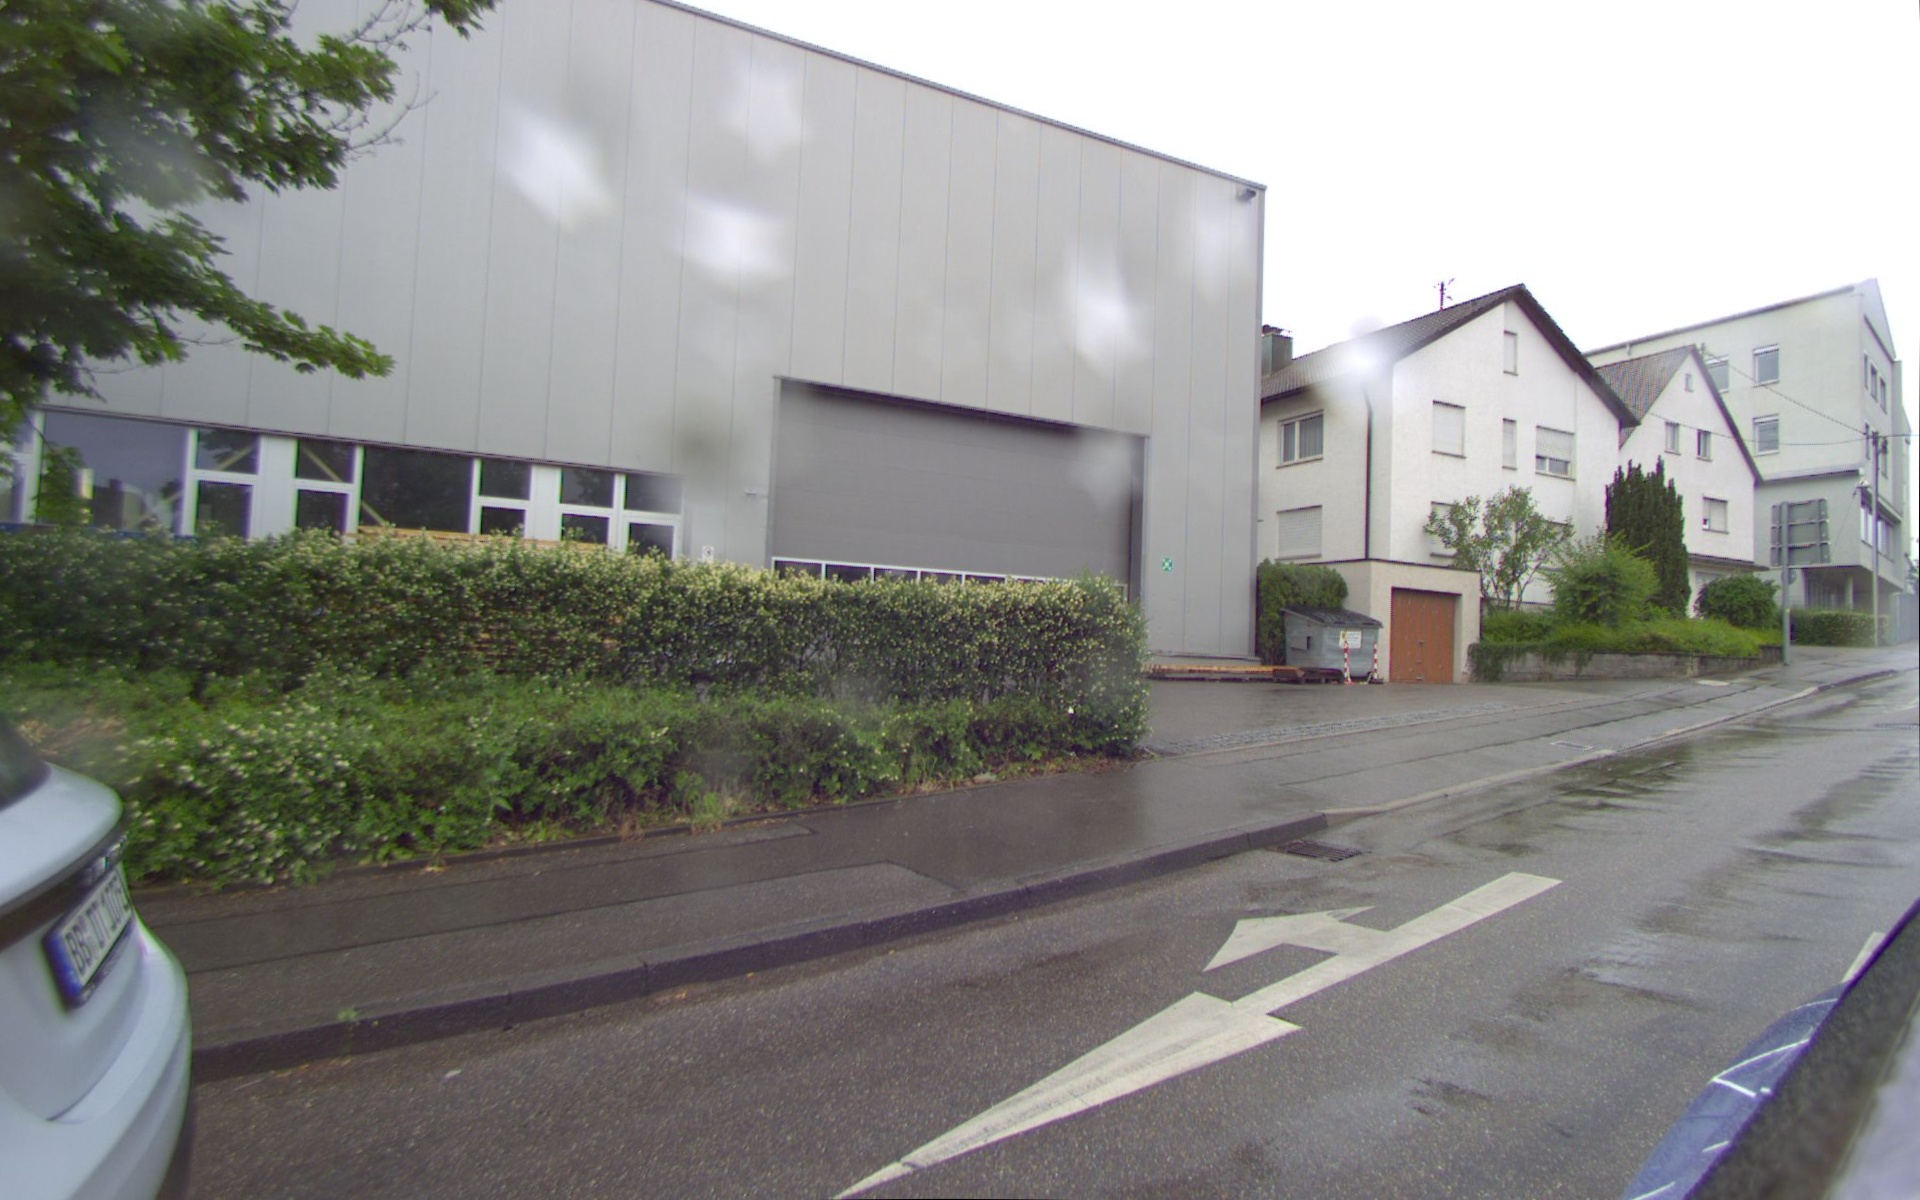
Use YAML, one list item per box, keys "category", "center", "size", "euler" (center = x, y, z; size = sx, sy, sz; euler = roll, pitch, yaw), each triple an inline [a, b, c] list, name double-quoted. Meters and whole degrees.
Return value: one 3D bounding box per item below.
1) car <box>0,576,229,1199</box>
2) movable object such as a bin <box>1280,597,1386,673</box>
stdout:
- category: "car"
  center: [-3.124, 0.702, 0.909]
  size: [3.829, 1.574, 1.695]
  euler: [2, -1, -32]
- category: "movable object such as a bin"
  center: [8.059, 0.745, 21.911]
  size: [1.556, 1.555, 1.451]
  euler: [2, -1, -25]
